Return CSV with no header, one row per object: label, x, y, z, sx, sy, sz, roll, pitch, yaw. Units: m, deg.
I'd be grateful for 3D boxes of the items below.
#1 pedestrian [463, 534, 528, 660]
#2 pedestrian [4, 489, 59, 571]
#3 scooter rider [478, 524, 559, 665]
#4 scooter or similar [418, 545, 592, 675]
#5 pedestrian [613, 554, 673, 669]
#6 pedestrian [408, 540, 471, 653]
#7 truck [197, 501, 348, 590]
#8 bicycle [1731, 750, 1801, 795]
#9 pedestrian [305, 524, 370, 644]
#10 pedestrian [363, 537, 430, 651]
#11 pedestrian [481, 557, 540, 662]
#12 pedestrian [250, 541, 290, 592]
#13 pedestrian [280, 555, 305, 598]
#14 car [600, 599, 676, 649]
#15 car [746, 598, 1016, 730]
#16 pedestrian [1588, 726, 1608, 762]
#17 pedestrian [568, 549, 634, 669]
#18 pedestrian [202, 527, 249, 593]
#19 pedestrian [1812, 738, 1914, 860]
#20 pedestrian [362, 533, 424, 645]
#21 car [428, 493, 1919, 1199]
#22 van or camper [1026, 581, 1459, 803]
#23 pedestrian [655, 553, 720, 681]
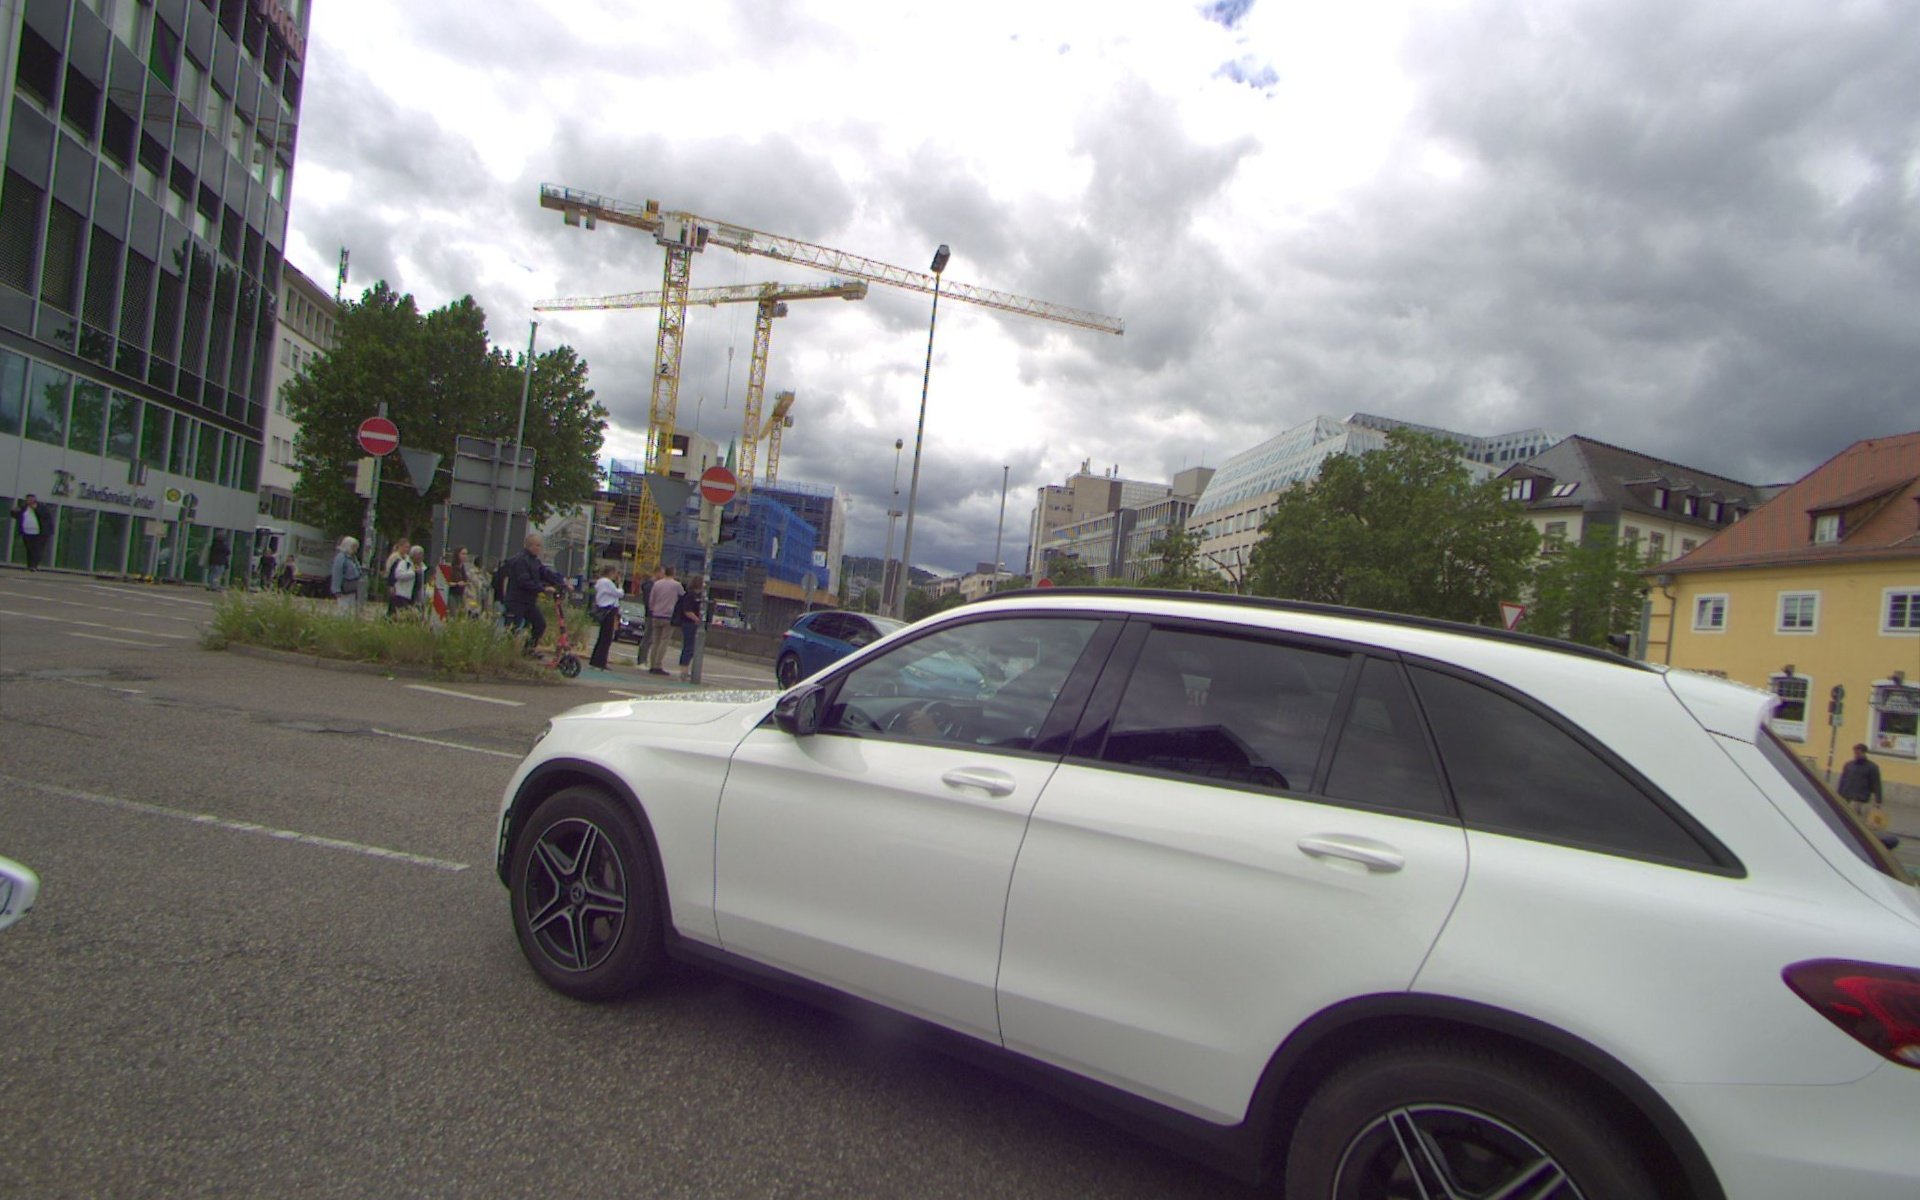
pedestrian,-7.665,-0.049,16.597,0.637,1.988,0.605,8,-1,-36
pedestrian,-21.395,-1.596,23.195,0.630,1.769,0.587,8,-1,-29
scooter rider,-5.803,-0.065,13.209,0.738,1.714,0.761,8,-1,-28
scooter or similar,-5.934,0.142,13.153,1.867,1.423,0.771,8,-2,-28
pedestrian,-5.610,0.198,17.820,0.637,1.932,0.605,8,-1,-36
pedestrian,-8.373,-0.061,16.182,0.637,1.715,0.605,8,-1,-36
truck,-30.419,-2.256,44.957,2.308,3.098,8.187,7,-2,-12
bicycle,25.433,5.433,31.789,0.610,1.098,1.772,7,-2,-2
pedestrian,-10.394,-0.267,16.805,0.696,1.884,0.664,8,-1,-33
pedestrian,-9.440,-0.098,16.851,0.756,1.782,0.664,8,-1,-33
pedestrian,-7.797,0.161,17.435,0.637,1.715,0.605,8,-1,-36
pedestrian,-25.818,-1.233,37.644,0.862,1.767,0.844,8,-1,-20
pedestrian,-25.206,-0.888,38.002,0.511,1.553,0.551,7,0,-20
car,-12.224,0.887,38.059,1.819,1.483,3.971,8,-2,-30
car,-1.457,0.999,16.770,1.938,1.499,4.572,11,-3,-42
pedestrian,29.362,6.629,46.312,0.551,1.609,0.486,8,-1,-43
pedestrian,-5.760,0.140,16.132,0.637,1.817,0.605,9,-2,-36
pedestrian,-20.106,-1.093,27.539,0.625,1.698,0.591,7,0,3
pedestrian,15.028,3.289,16.767,0.739,1.810,0.827,7,-1,-5
pedestrian,-9.902,-0.195,17.568,0.696,1.836,0.664,8,-1,-33
car,0.304,0.728,3.554,4.261,1.666,1.805,8,0,31
van or camper,4.124,1.276,15.789,2.135,2.505,6.085,9,-2,-43
pedestrian,-4.417,0.264,16.283,0.636,1.978,0.606,8,-1,-32
